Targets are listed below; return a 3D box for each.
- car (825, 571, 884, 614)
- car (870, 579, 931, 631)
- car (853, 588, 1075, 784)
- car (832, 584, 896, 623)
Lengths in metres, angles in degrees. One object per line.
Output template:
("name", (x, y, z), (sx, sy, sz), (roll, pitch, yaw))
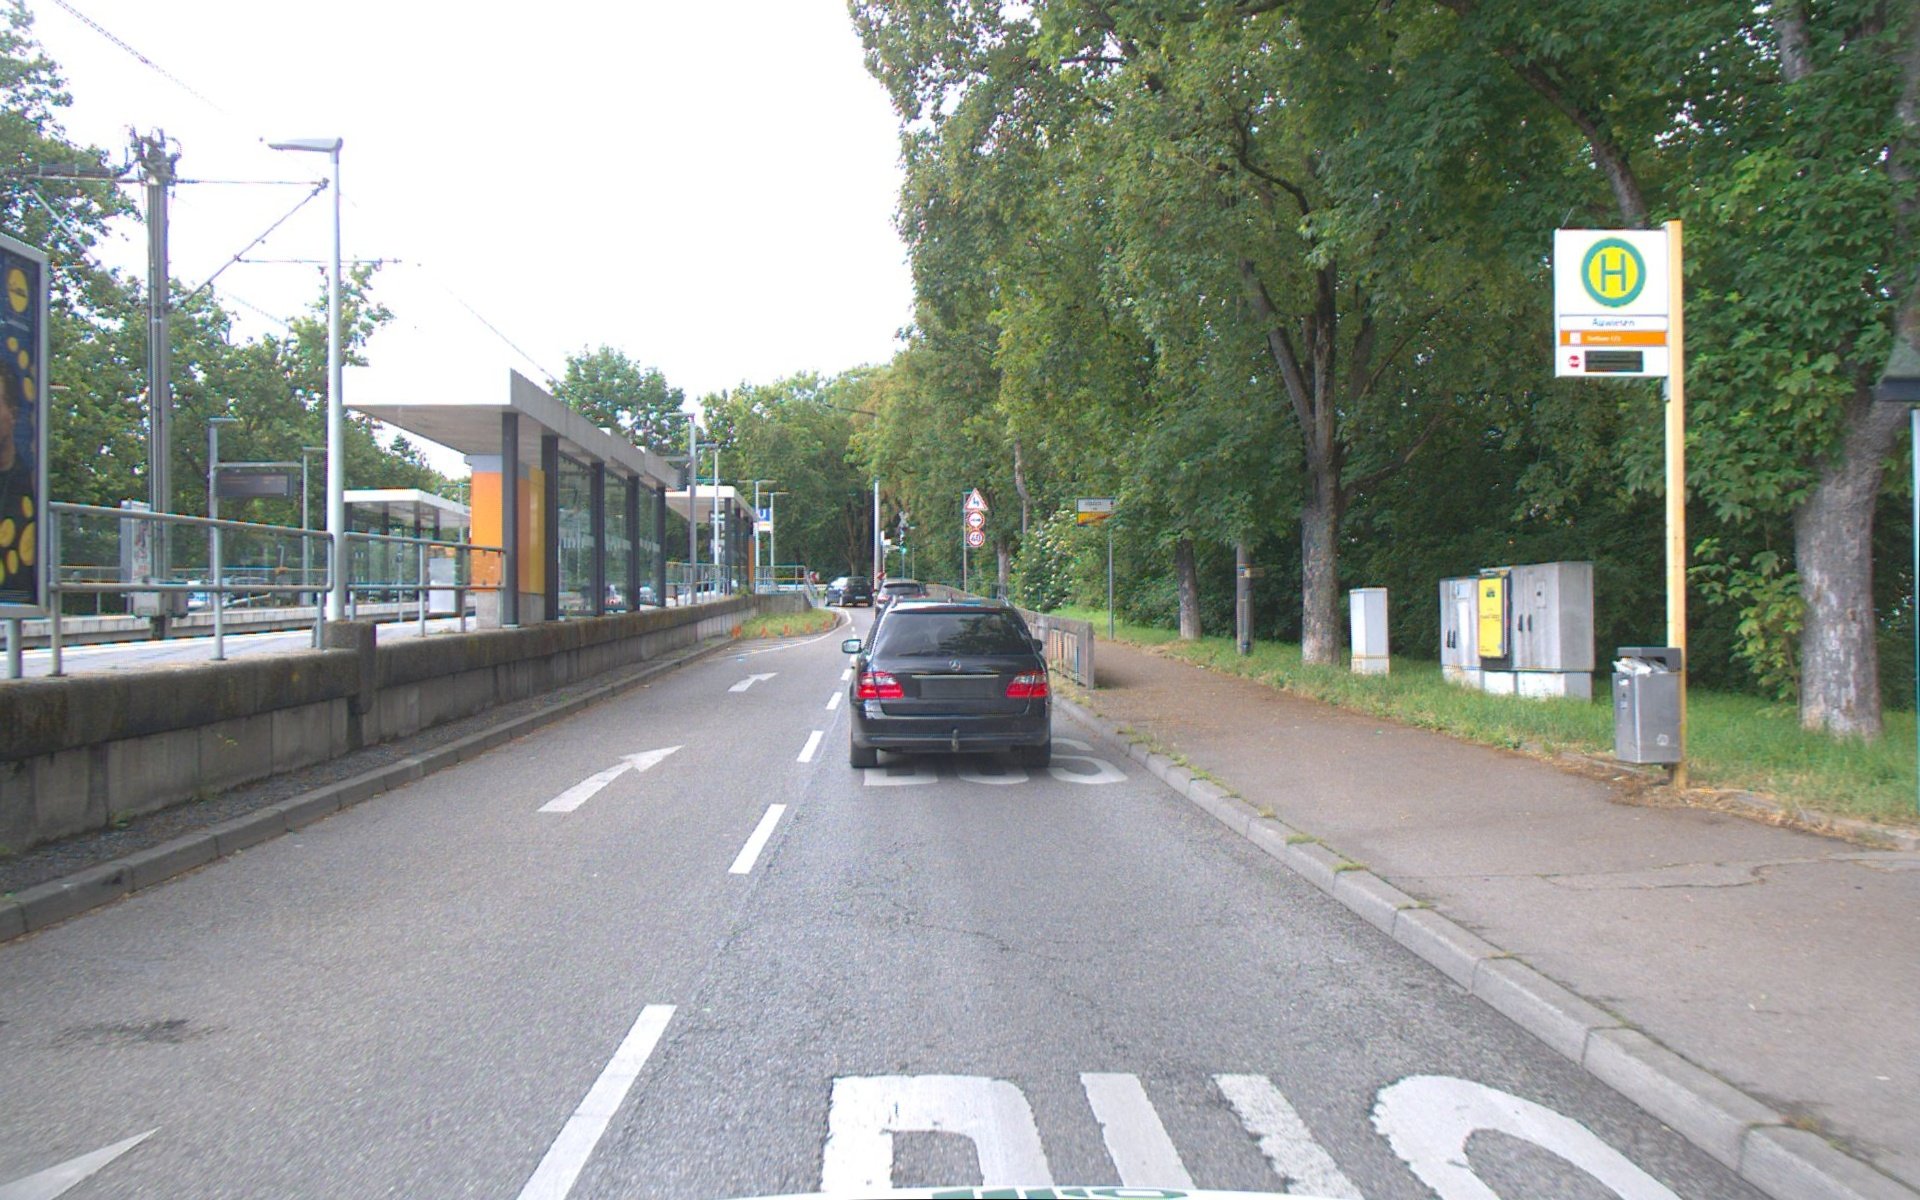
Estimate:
("car", (-5.117, -0.354, 79.707), (1.962, 1.952, 3.981), (2, -1, -17))
("car", (-1.986, 0.151, 54.580), (1.747, 1.677, 3.995), (0, 0, -6))
("car", (-0.092, 0.677, 15.388), (1.747, 1.552, 3.996), (0, 1, -5))
("car", (-3.743, 0.097, 63.763), (1.958, 1.423, 3.989), (0, 1, -11))
